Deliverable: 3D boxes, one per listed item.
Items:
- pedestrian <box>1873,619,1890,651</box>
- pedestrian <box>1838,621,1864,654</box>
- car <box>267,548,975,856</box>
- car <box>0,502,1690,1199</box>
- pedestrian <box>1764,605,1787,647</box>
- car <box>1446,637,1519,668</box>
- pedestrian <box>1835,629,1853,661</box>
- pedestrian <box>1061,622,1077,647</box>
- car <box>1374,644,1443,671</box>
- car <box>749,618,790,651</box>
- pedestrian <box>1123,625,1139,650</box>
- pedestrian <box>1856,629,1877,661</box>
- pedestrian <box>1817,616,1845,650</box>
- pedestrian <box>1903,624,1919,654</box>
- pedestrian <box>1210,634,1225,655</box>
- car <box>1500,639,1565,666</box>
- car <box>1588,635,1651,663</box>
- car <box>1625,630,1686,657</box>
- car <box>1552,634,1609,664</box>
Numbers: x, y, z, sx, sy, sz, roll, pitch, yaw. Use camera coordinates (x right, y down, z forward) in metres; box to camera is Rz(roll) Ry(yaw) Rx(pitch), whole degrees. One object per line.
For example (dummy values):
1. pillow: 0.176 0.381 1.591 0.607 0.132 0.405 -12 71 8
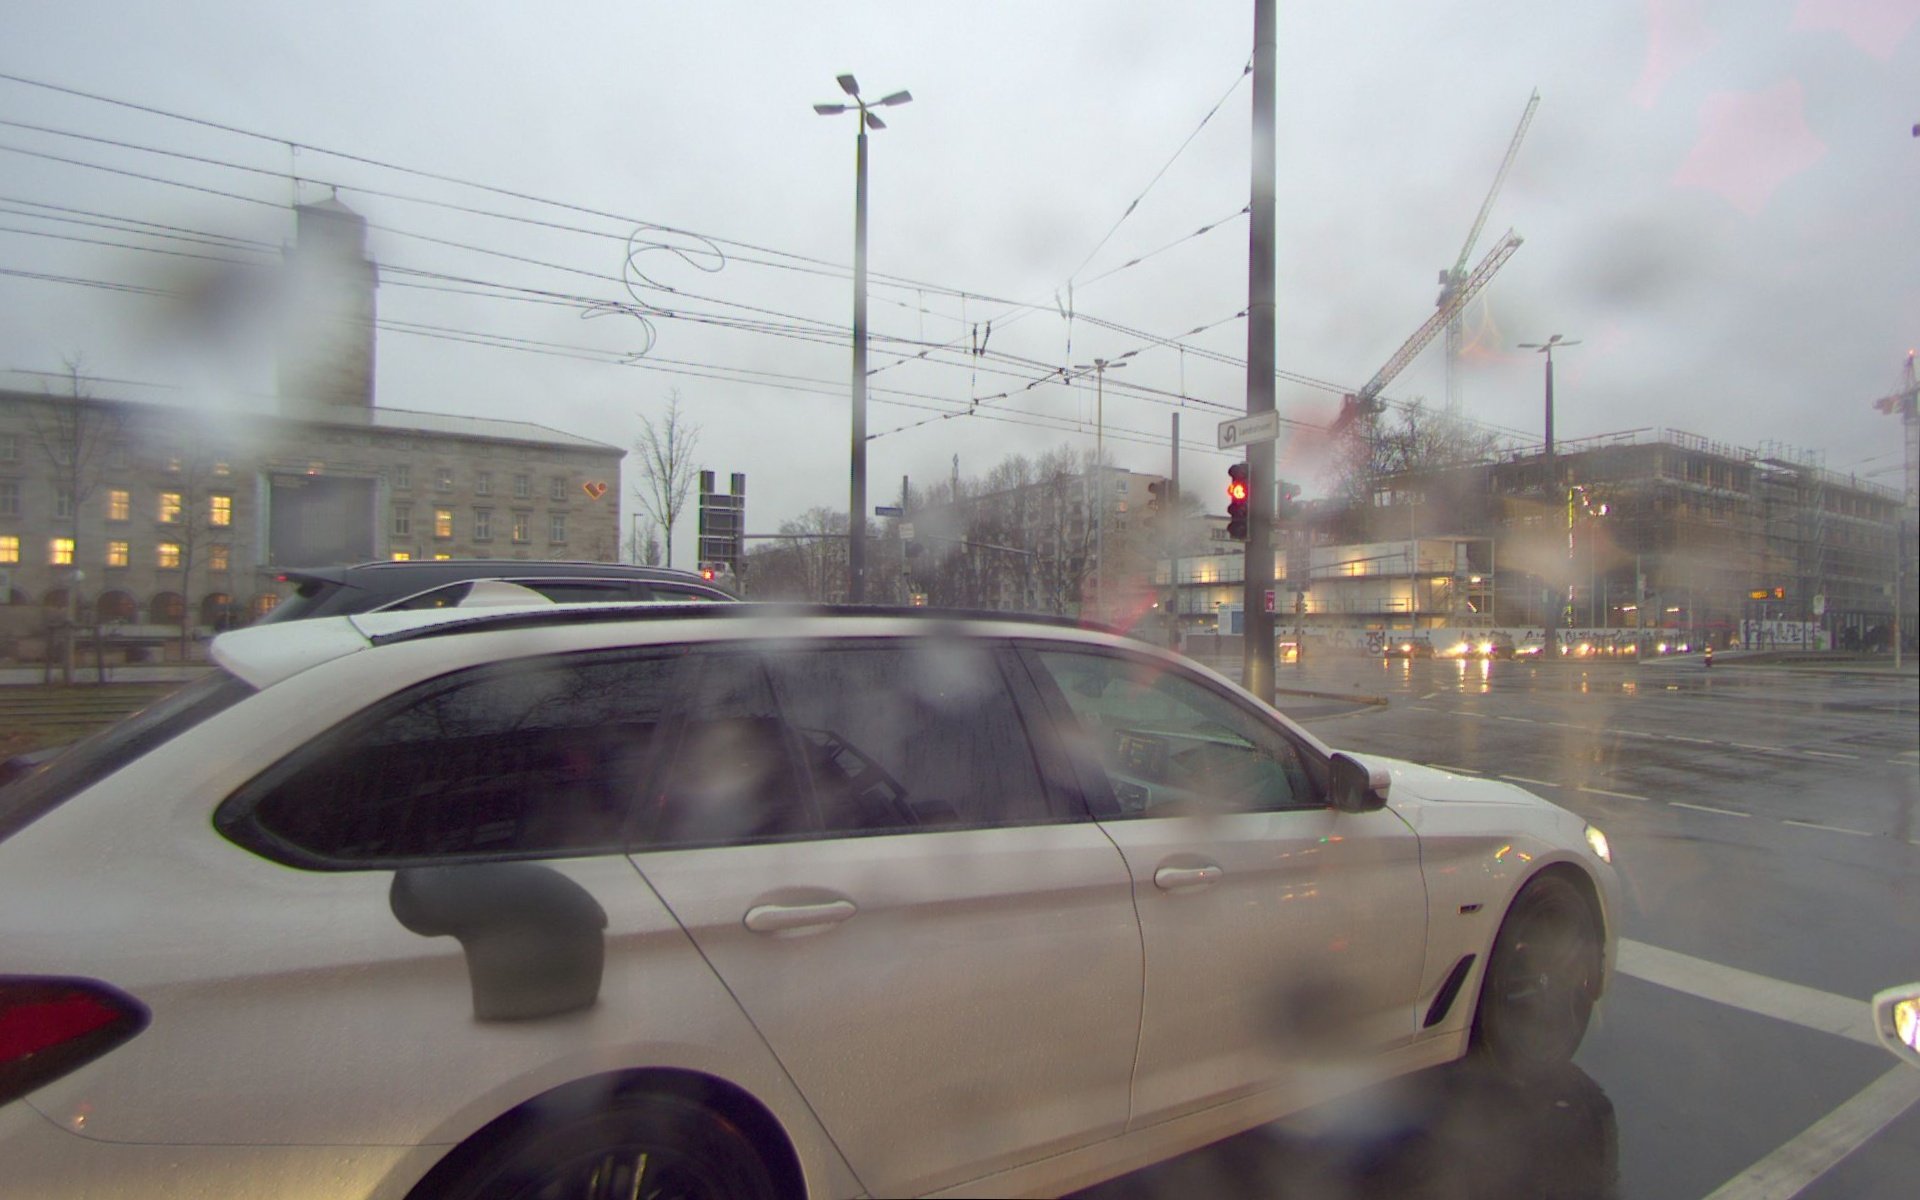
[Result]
1. pedestrian: 57.778 2.181 62.998 0.659 1.994 0.566 2 1 -36
2. pedestrian: 56.613 2.395 63.798 1.081 2.040 0.937 2 0 -31
3. car: -2.214 0.605 7.147 4.238 1.605 1.958 2 -1 -29
4. car: 0.024 0.703 3.077 4.508 1.506 2.007 2 -2 -31
5. pedestrian: 47.041 1.493 57.960 0.754 2.354 0.761 3 -1 -30
6. car: 30.443 3.051 58.537 3.953 1.679 1.984 2 -2 -30
7. pedestrian: 54.221 2.758 61.608 0.547 1.906 0.695 2 0 -30
8. pedestrian: 9.012 2.858 83.146 0.810 1.959 0.916 2 0 -36
9. car: 27.822 3.551 62.255 3.953 1.550 1.984 2 -2 -30
10. car: -14.543 2.617 76.386 2.031 2.454 4.734 1 -1 -24
11. pedestrian: 13.449 2.924 78.871 0.810 1.959 0.916 2 0 -36
12. pedestrian: 56.279 2.792 62.360 0.754 1.922 0.761 3 -1 -30
13. pedestrian: 53.291 2.013 61.460 1.081 2.040 0.938 2 0 -29
14. pedestrian: 67.384 2.761 71.012 1.085 2.040 0.934 2 0 -40
15. pedestrian: 17.833 3.098 69.602 0.715 1.407 0.725 2 -2 -28
16. car: 35.726 3.263 62.638 4.577 1.550 2.059 2 -2 -40
17. car: 45.882 3.405 69.871 3.949 1.814 1.986 2 0 -27
18. car: 50.492 3.128 72.878 3.949 1.814 1.986 2 0 -27
19. car: 40.998 3.248 66.347 3.963 1.852 1.852 2 0 -37
